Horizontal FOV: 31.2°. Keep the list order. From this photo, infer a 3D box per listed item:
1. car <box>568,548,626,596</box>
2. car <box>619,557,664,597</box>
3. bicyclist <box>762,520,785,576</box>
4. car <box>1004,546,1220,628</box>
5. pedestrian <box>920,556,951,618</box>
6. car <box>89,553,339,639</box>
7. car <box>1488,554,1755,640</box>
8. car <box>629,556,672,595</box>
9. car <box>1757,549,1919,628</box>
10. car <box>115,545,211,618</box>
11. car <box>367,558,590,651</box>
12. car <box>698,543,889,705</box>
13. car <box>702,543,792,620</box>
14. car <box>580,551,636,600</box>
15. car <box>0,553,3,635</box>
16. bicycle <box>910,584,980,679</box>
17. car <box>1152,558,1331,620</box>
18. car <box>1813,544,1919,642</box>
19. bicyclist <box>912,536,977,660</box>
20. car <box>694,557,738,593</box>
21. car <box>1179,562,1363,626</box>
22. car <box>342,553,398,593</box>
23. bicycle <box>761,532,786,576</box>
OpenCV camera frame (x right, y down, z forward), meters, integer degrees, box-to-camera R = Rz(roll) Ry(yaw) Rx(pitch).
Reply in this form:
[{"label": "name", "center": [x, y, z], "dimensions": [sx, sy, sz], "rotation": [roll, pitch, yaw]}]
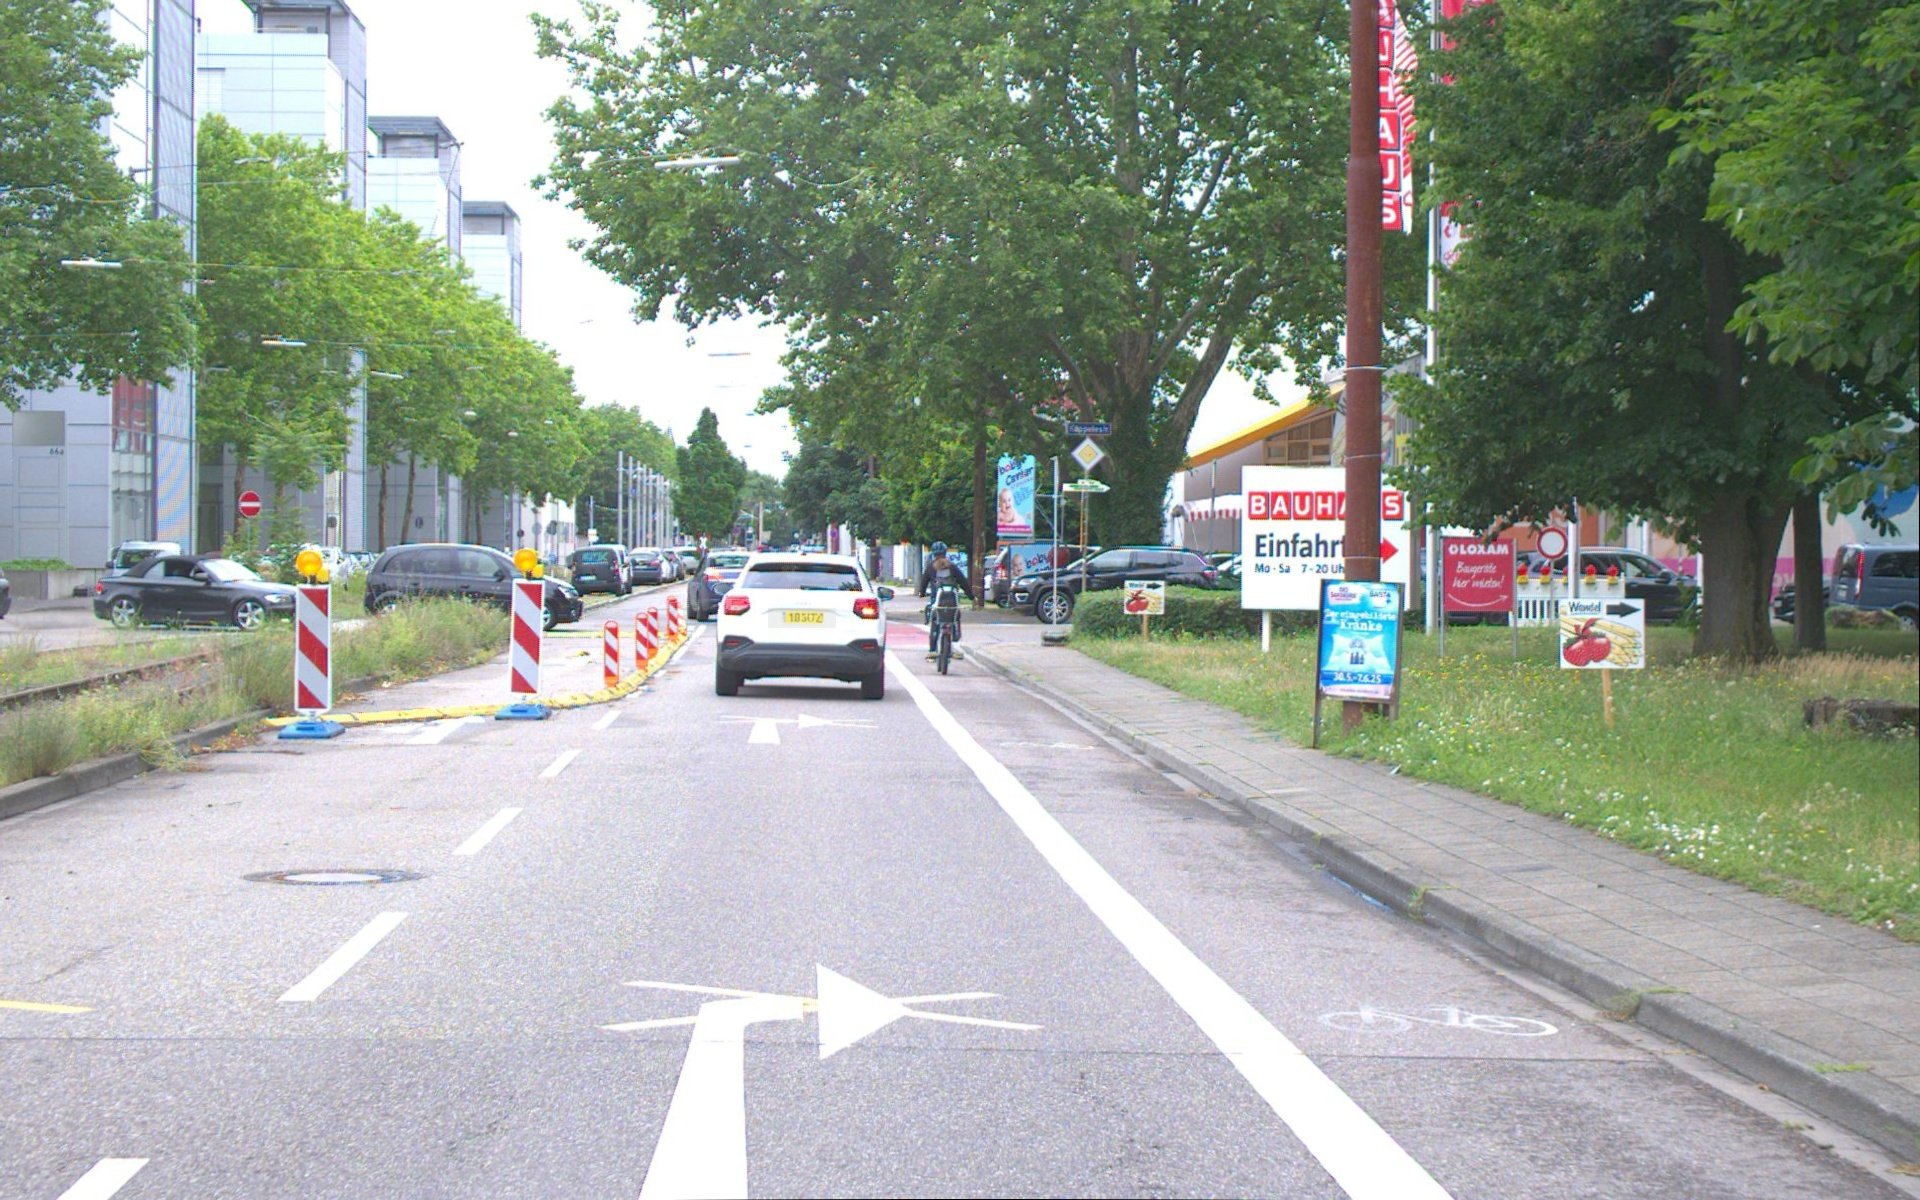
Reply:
[{"label": "car", "center": [-12.457, -0.983, 118.153], "dimensions": [1.876, 1.627, 4.001], "rotation": [0, 1, -4]}, {"label": "car", "center": [-14.099, -1.024, 152.339], "dimensions": [1.876, 1.757, 4.001], "rotation": [0, 1, -4]}, {"label": "bicyclist", "center": [-6.078, -1.685, 111.928], "dimensions": [0.670, 1.809, 0.760], "rotation": [2, 1, -6]}, {"label": "car", "center": [3.114, -0.280, 71.159], "dimensions": [4.313, 1.671, 1.993], "rotation": [0, 1, -2]}, {"label": "pedestrian", "center": [-0.681, -0.359, 95.138], "dimensions": [0.760, 1.699, 0.682], "rotation": [0, 1, -8]}, {"label": "car", "center": [-13.599, -0.056, 62.699], "dimensions": [4.120, 1.470, 1.823], "rotation": [-1, -1, 20]}, {"label": "car", "center": [12.282, -0.059, 64.012], "dimensions": [4.552, 1.566, 1.993], "rotation": [0, 1, -3]}, {"label": "car", "center": [-14.184, -1.133, 157.554], "dimensions": [1.876, 1.757, 4.001], "rotation": [0, 1, -4]}, {"label": "car", "center": [19.684, -0.249, 74.036], "dimensions": [4.553, 1.671, 2.081], "rotation": [0, 1, 1]}, {"label": "car", "center": [-19.946, -0.478, 86.190], "dimensions": [1.819, 1.777, 4.427], "rotation": [0, 1, -6]}, {"label": "car", "center": [-8.876, 0.085, 63.596], "dimensions": [3.882, 1.550, 1.825], "rotation": [2, 0, -3]}, {"label": "car", "center": [-1.846, 0.218, 37.041], "dimensions": [1.823, 1.595, 3.776], "rotation": [2, 1, -6]}, {"label": "car", "center": [-4.458, -0.405, 71.491], "dimensions": [1.684, 1.508, 3.707], "rotation": [2, 1, -6]}, {"label": "car", "center": [-12.690, -0.896, 123.967], "dimensions": [1.876, 1.757, 4.001], "rotation": [0, 1, -4]}, {"label": "car", "center": [-18.180, -0.092, 59.541], "dimensions": [1.819, 1.467, 4.426], "rotation": [0, 1, 3]}, {"label": "bicycle", "center": [-0.212, 0.403, 45.770], "dimensions": [0.816, 1.208, 2.683], "rotation": [0, 1, -3]}, {"label": "car", "center": [7.011, -0.280, 85.816], "dimensions": [4.212, 1.546, 1.790], "rotation": [0, 1, -5]}, {"label": "car", "center": [18.679, -0.132, 64.900], "dimensions": [4.552, 1.784, 2.074], "rotation": [1, 1, -3]}, {"label": "bicyclist", "center": [-0.214, -0.028, 45.761], "dimensions": [0.816, 1.624, 1.235], "rotation": [0, 0, -3]}, {"label": "car", "center": [-10.793, -1.119, 152.034], "dimensions": [1.795, 1.508, 3.707], "rotation": [2, 1, -6]}, {"label": "car", "center": [7.546, -0.151, 83.693], "dimensions": [4.212, 1.546, 1.790], "rotation": [0, 1, -5]}, {"label": "car", "center": [-24.278, -1.112, 141.529], "dimensions": [1.876, 1.627, 4.206], "rotation": [0, 1, -4]}, {"label": "bicycle", "center": [-6.062, -1.491, 111.768], "dimensions": [0.670, 1.389, 2.167], "rotation": [2, 1, -6]}]
